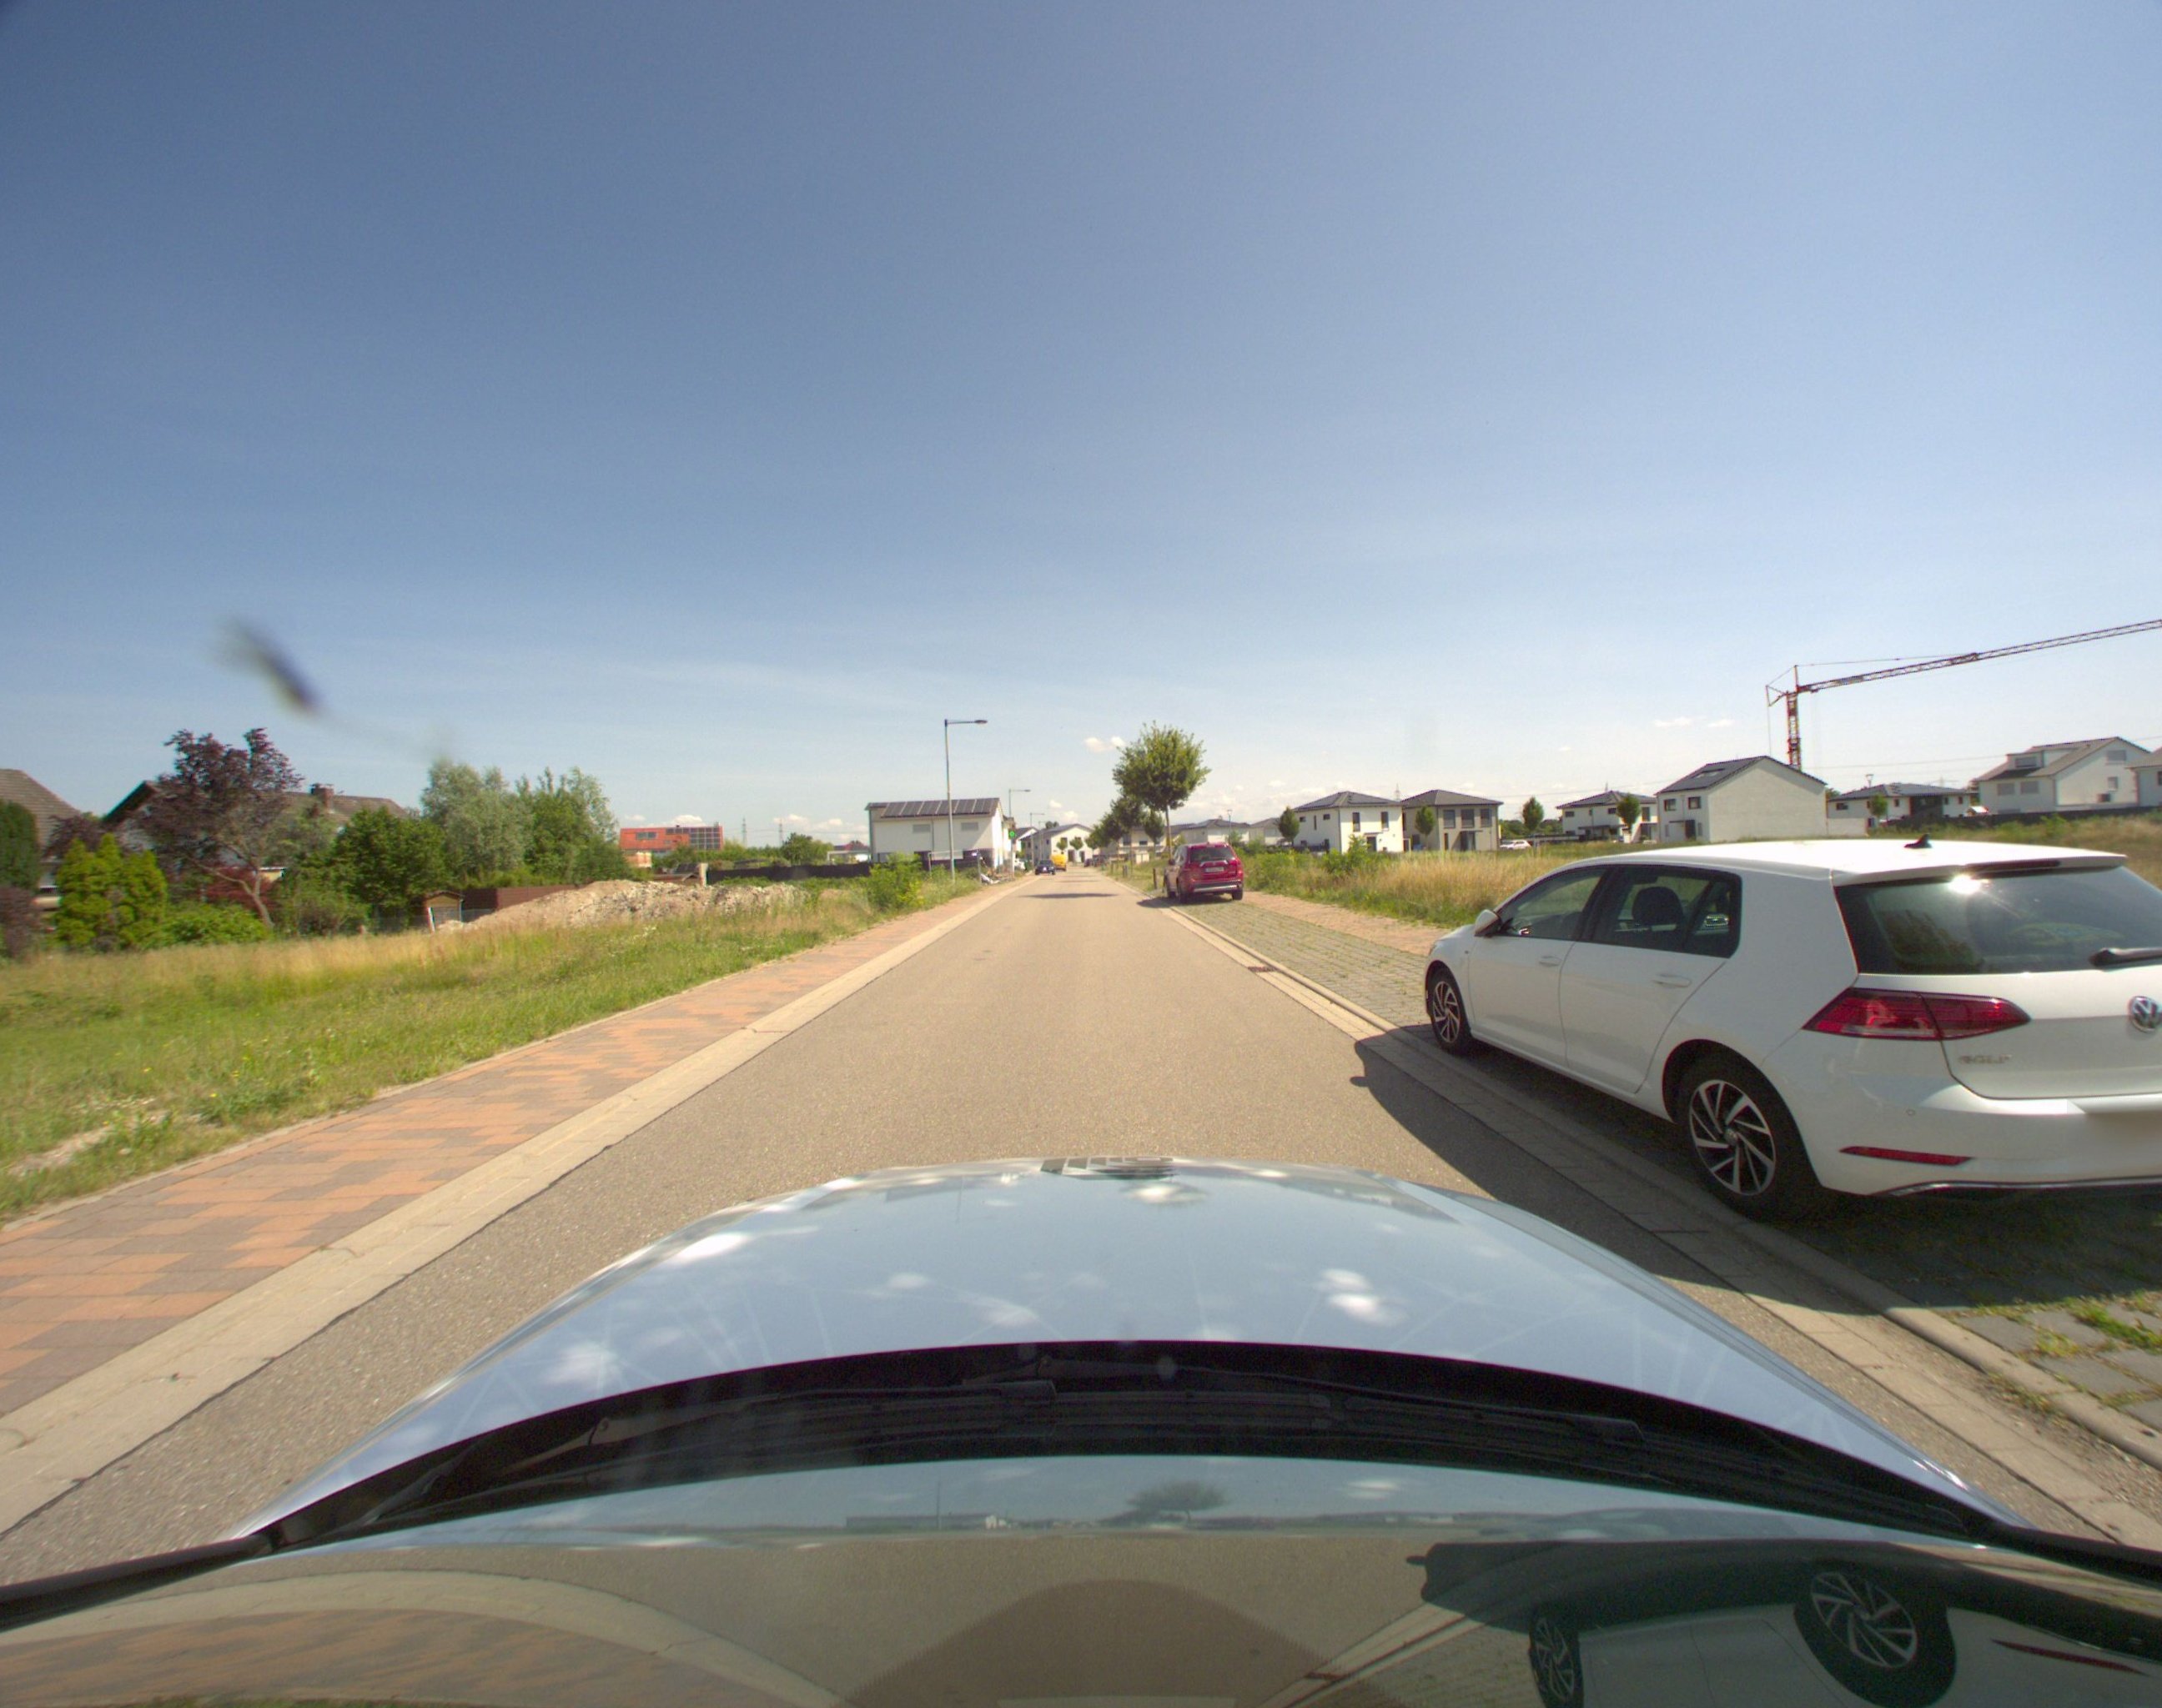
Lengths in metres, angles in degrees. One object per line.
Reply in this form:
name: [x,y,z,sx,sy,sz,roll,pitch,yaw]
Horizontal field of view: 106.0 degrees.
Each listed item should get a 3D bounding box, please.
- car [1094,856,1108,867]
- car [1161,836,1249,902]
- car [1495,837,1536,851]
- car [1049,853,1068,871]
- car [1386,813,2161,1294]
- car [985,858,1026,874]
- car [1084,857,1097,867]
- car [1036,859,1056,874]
car: [2.846,1.051,116.349,1.635,1.403,3.808,-2,-2,-2]
car: [3.572,0.405,24.187,1.772,1.663,4.431,-4,0,-1]
car: [49.571,-1.129,92.885,3.993,1.398,1.742,-2,-1,-15]
car: [-2.681,0.976,96.182,1.938,1.981,4.210,-2,-1,-4]
car: [3.453,0.604,4.665,1.770,1.420,4.165,-4,0,0]
car: [-8.011,1.218,86.442,4.049,1.581,1.787,-1,0,5]
car: [1.542,1.338,134.933,1.626,1.322,3.823,-2,-2,-7]
car: [-3.203,1.132,76.129,1.740,1.405,4.158,0,0,-1]
